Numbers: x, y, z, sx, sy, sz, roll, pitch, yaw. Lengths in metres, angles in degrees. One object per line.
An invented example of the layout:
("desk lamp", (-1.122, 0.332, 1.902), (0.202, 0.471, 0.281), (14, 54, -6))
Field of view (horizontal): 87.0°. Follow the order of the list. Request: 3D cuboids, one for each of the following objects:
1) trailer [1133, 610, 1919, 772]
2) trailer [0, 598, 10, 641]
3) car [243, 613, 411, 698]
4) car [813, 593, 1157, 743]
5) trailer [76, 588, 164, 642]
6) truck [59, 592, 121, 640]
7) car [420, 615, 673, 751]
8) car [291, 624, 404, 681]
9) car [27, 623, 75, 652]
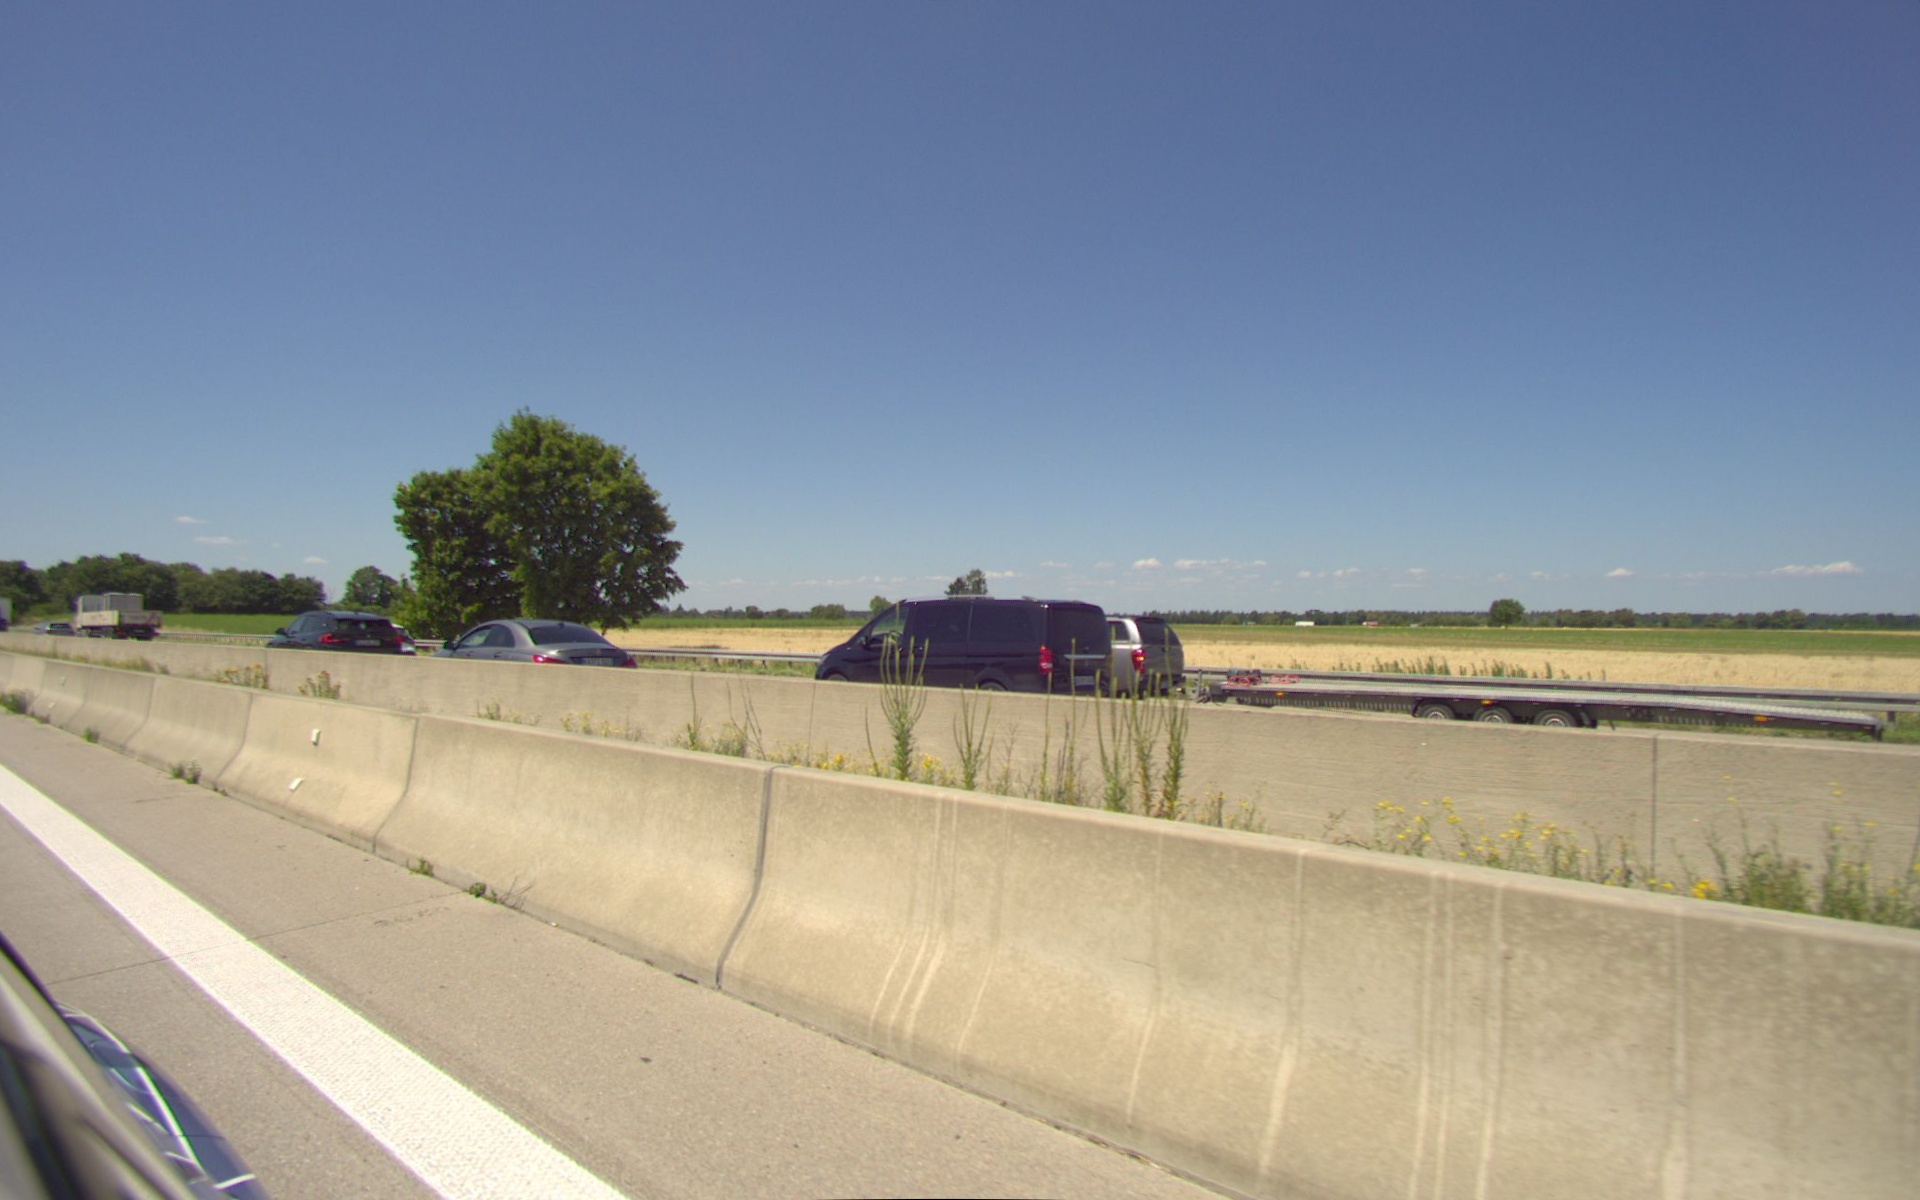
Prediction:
("trailer", (7.679, 1.096, 14.763), (10.536, 1.759, 2.215), (-1, -3, 40))
("trailer", (-93.830, 1.893, 97.136), (8.471, 4.000, 2.871), (-1, 0, 40))
("car", (-14.774, 1.209, 23.483), (5.028, 1.730, 1.972), (-1, 0, 42))
("car", (0.210, 0.904, 15.384), (5.182, 1.892, 1.972), (-1, 0, 42))
("trailer", (-62.988, 1.148, 75.705), (13.741, 3.711, 2.774), (-1, 0, 41))
("truck", (-71.079, 1.315, 82.656), (7.231, 3.715, 2.774), (-1, 0, 41))
("car", (-6.304, 1.120, 15.238), (3.999, 1.730, 1.972), (-1, 0, 42))
("car", (-20.578, 1.694, 33.937), (4.611, 1.730, 1.972), (-1, 0, 42))
("car", (-60.220, 2.447, 67.011), (5.126, 1.730, 1.942), (-1, 0, 43))
